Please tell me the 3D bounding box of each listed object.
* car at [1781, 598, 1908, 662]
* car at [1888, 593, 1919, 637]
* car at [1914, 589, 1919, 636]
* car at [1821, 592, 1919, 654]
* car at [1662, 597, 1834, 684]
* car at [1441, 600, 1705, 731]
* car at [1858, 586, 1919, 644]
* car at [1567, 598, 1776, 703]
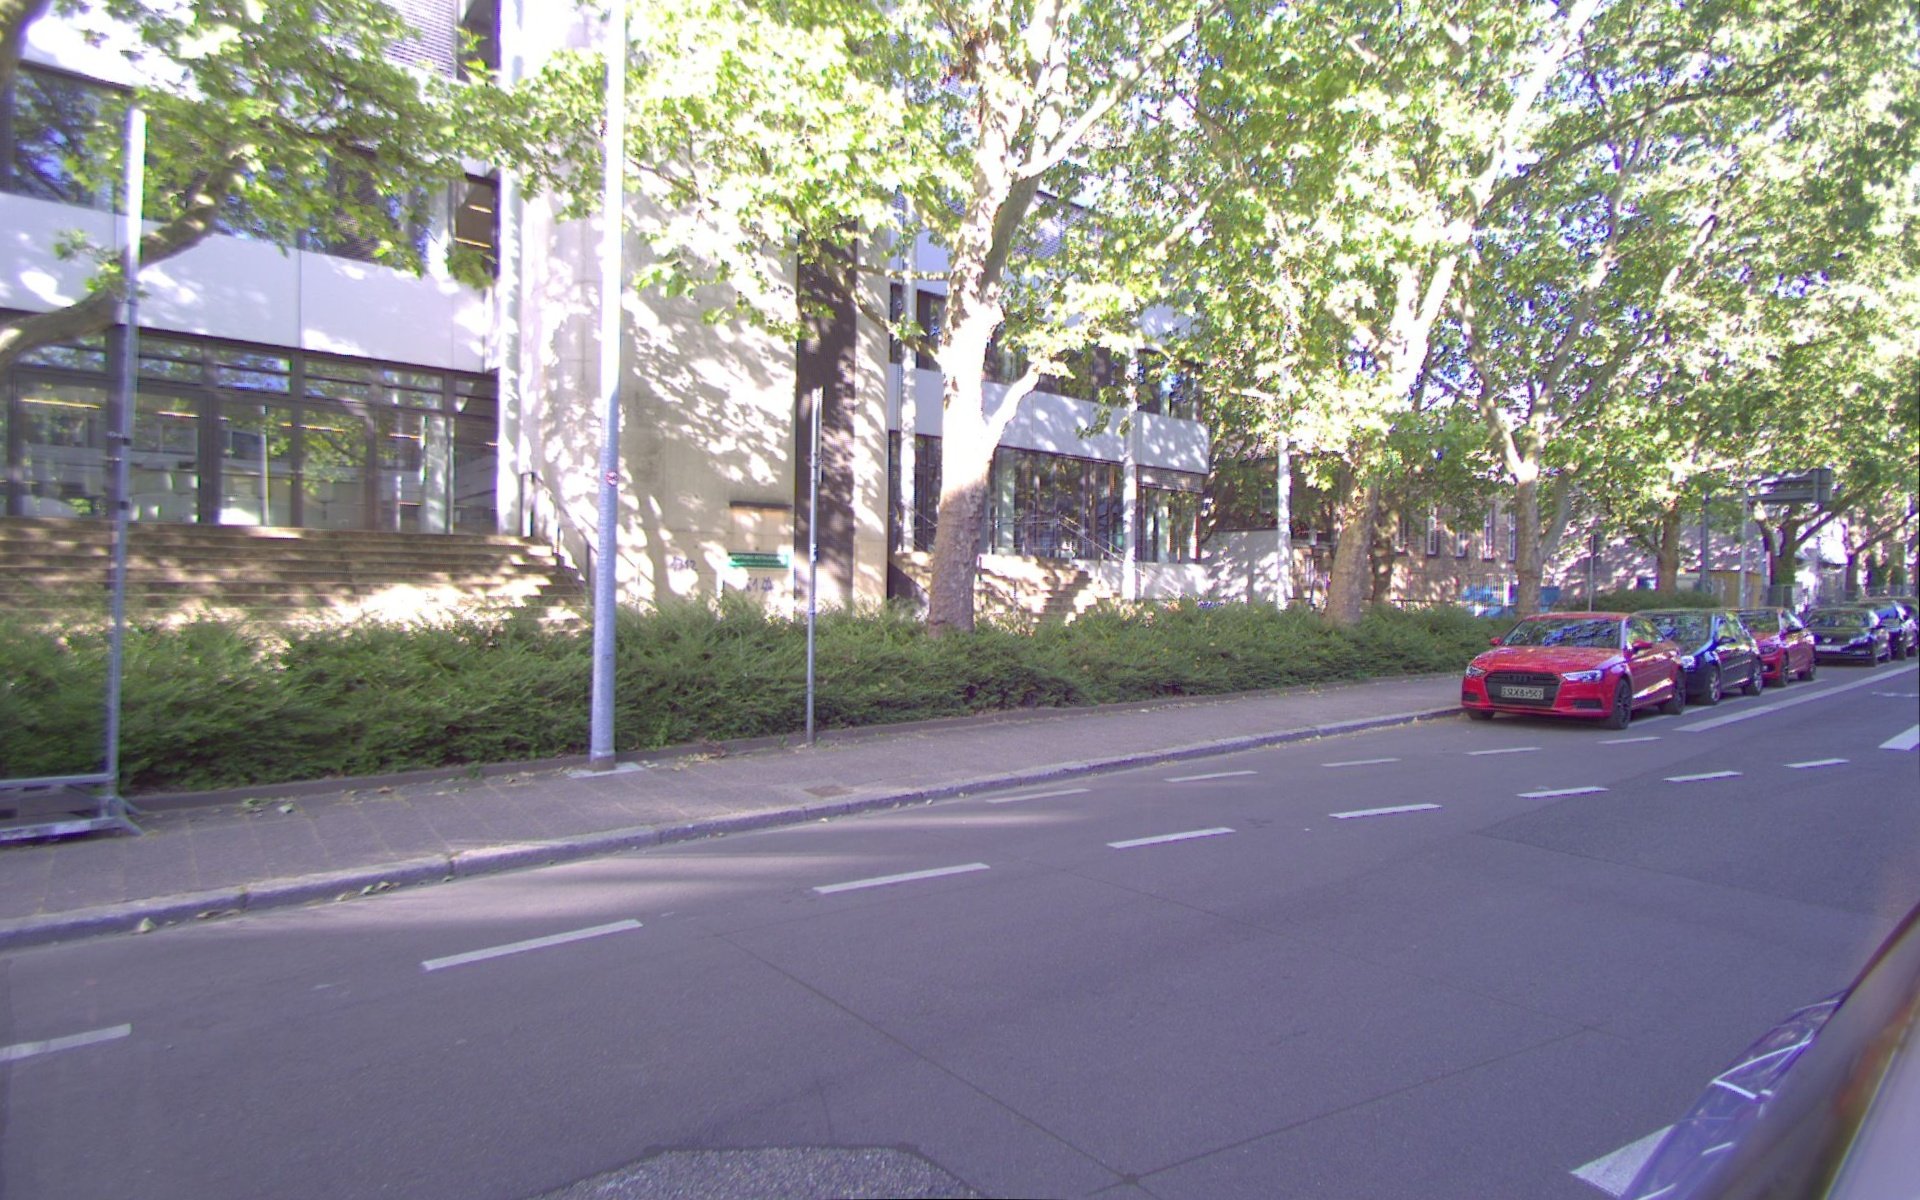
[{"bbox_3d":[22.810,0.713,26.065,3.527,1.474,1.997,-1,1,-41],"label":"car"},{"bbox_3d":[36.027,0.527,37.460,4.070,1.585,1.997,-1,1,-41],"label":"car"},{"bbox_3d":[39.615,0.474,40.279,3.930,1.872,1.997,-1,0,-41],"label":"car"},{"bbox_3d":[26.538,0.600,29.188,4.070,1.621,1.997,-1,0,-41],"label":"car"},{"bbox_3d":[15.660,0.711,20.058,3.762,1.517,1.997,-1,1,-41],"label":"car"},{"bbox_3d":[8.268,0.746,13.527,3.930,1.443,1.906,-1,1,-41],"label":"car"},{"bbox_3d":[31.274,0.440,33.315,4.493,1.809,1.997,-1,0,-41],"label":"car"},{"bbox_3d":[11.685,0.723,16.563,3.581,1.478,1.997,-1,1,-41],"label":"car"}]
